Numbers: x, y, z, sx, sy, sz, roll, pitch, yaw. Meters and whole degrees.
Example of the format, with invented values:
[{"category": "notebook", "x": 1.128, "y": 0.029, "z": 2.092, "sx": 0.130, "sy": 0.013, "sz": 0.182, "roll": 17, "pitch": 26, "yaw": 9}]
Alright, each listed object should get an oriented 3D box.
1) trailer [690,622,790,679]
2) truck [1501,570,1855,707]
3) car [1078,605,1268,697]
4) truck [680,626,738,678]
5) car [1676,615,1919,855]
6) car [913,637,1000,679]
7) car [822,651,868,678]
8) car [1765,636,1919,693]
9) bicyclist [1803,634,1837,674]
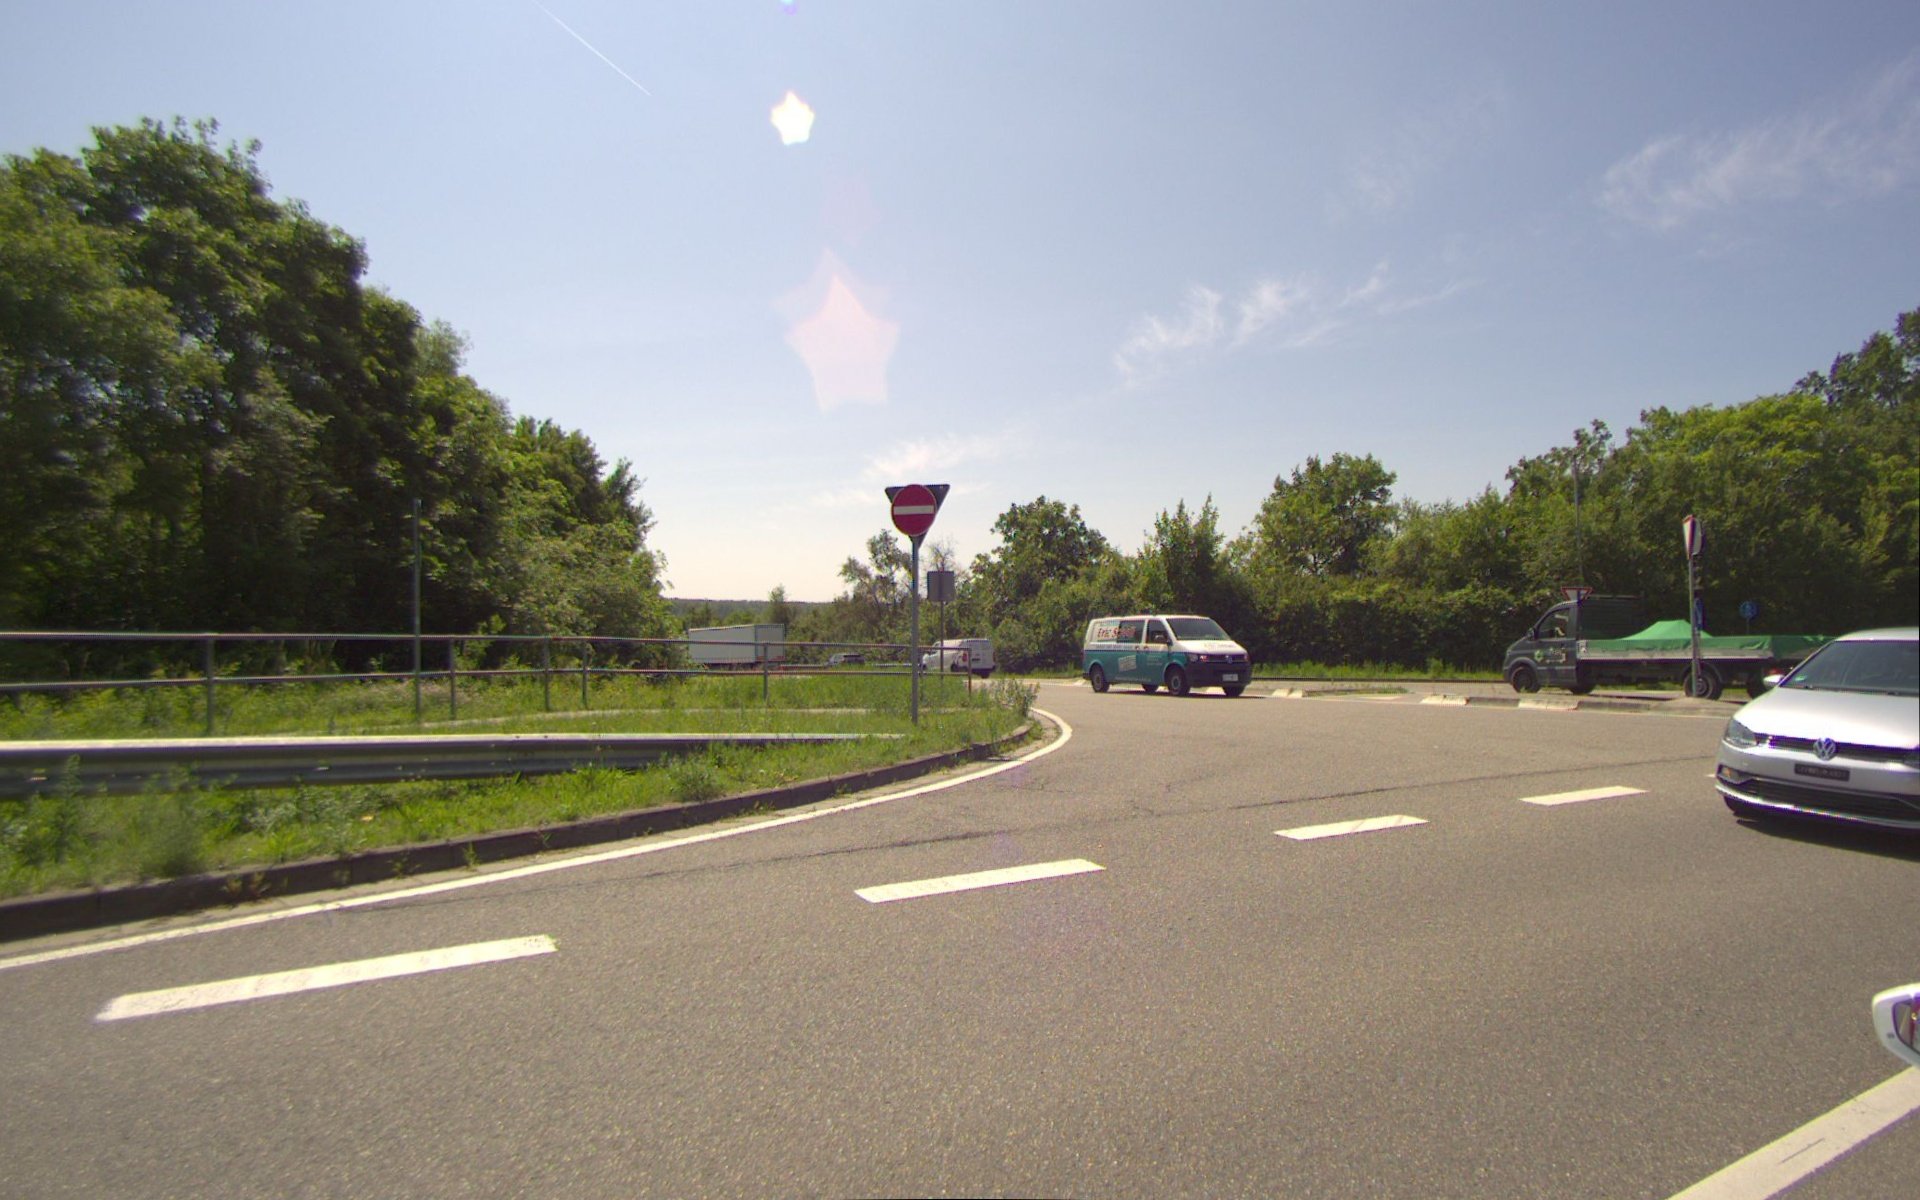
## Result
[{"category": "trailer", "x": -18.333, "y": 4.227, "z": 82.603, "sx": 2.969, "sy": 4.331, "sz": 13.657, "roll": 1, "pitch": -3, "yaw": -35}, {"category": "truck", "x": 15.579, "y": 0.910, "z": 22.535, "sx": 2.110, "sy": 2.598, "sz": 6.621, "roll": 1, "pitch": -3, "yaw": -15}, {"category": "car", "x": 5.119, "y": 1.308, "z": 25.063, "sx": 1.972, "sy": 2.054, "sz": 5.160, "roll": 1, "pitch": -4, "yaw": -24}, {"category": "truck", "x": -21.945, "y": 4.532, "z": 87.538, "sx": 2.970, "sy": 4.331, "sz": 5.869, "roll": 1, "pitch": -3, "yaw": -36}, {"category": "car", "x": 7.231, "y": 0.883, "z": 7.508, "sx": 3.721, "sy": 1.437, "sz": 1.637, "roll": 2, "pitch": 0, "yaw": -29}, {"category": "car", "x": -0.248, "y": 2.889, "z": 49.945, "sx": 1.993, "sy": 1.948, "sz": 5.155, "roll": 1, "pitch": -4, "yaw": -30}, {"category": "car", "x": -7.332, "y": 4.081, "z": 63.708, "sx": 1.747, "sy": 1.616, "sz": 3.904, "roll": 1, "pitch": -4, "yaw": -26}, {"category": "car", "x": 27.636, "y": 1.979, "z": 31.173, "sx": 3.920, "sy": 1.684, "sz": 1.678, "roll": 0, "pitch": -1, "yaw": 1}, {"category": "bicyclist", "x": 30.089, "y": 1.886, "z": 35.142, "sx": 0.597, "sy": 1.381, "sz": 0.690, "roll": 0, "pitch": 0, "yaw": 5}]
